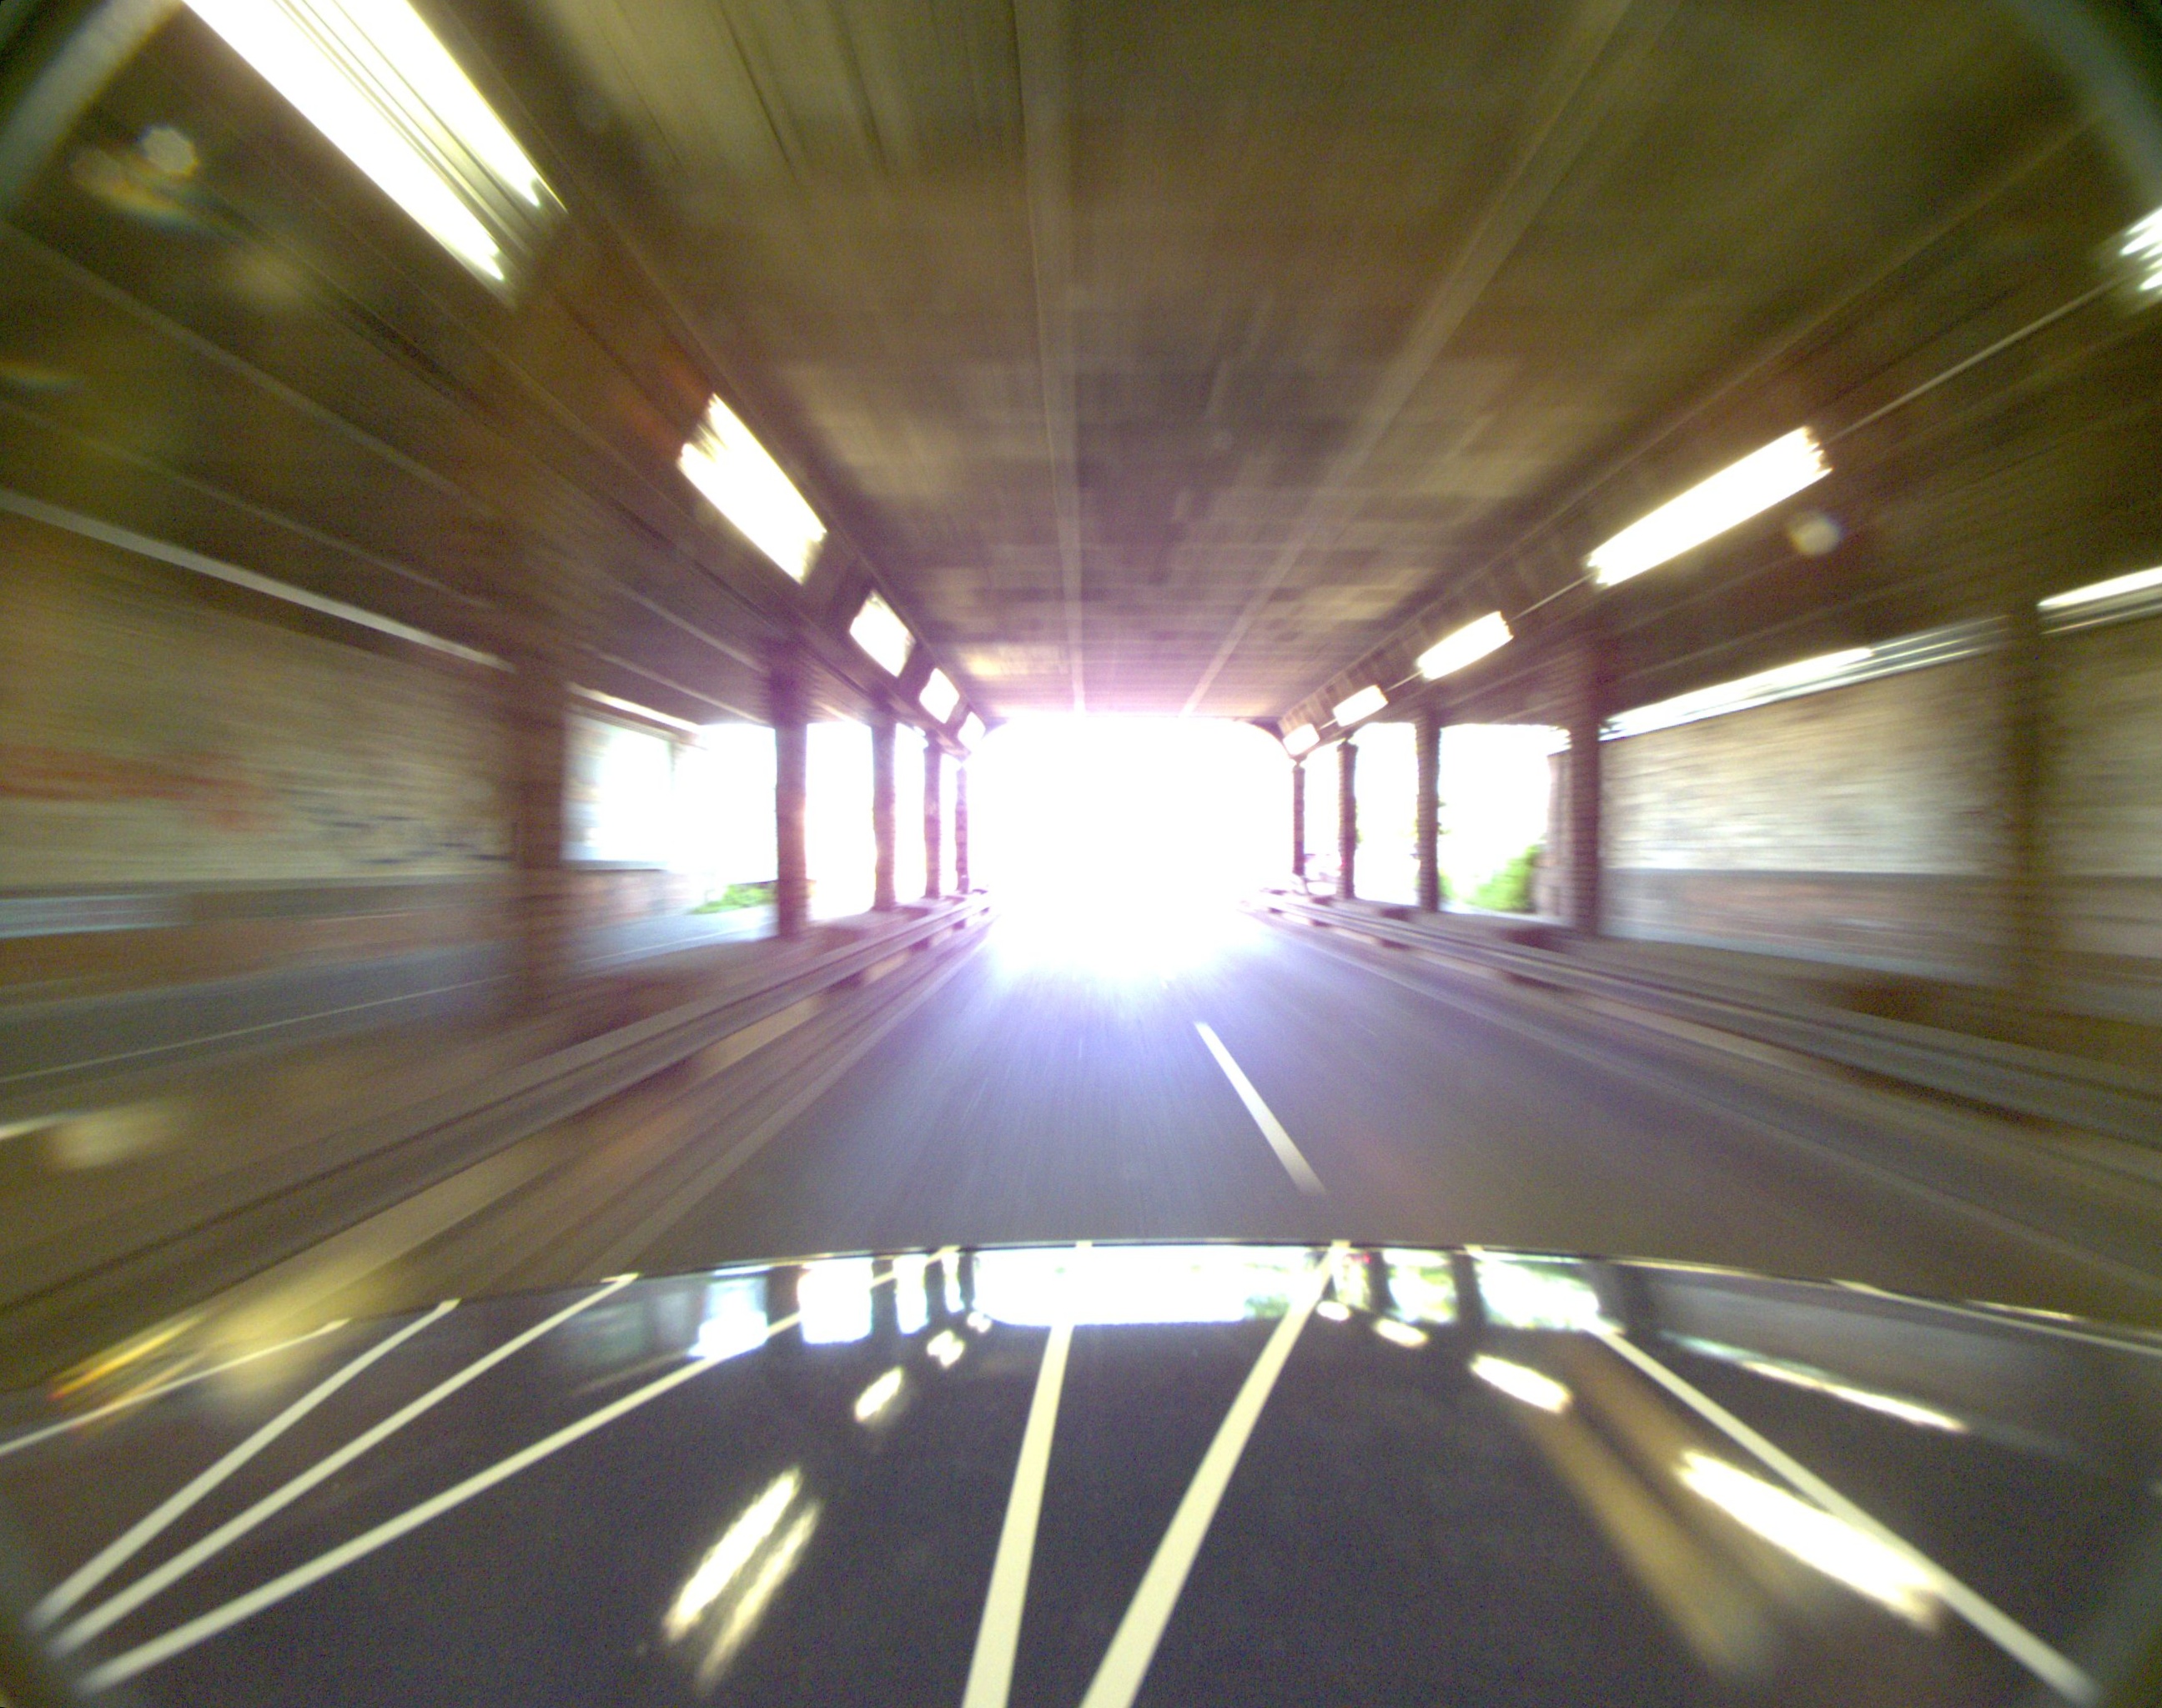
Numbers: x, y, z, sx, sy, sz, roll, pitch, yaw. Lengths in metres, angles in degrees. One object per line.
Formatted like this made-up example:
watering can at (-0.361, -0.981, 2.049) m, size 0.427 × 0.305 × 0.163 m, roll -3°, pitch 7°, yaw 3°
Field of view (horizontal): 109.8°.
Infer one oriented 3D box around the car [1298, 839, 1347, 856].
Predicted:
car at (24.187, -0.687, 76.203) m, size 4.319 × 1.590 × 1.860 m, roll -1°, pitch 1°, yaw 6°

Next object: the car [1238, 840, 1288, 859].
car at (16.400, -0.447, 68.481) m, size 4.127 × 1.626 × 1.916 m, roll -2°, pitch 2°, yaw -29°

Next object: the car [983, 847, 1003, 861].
car at (-9.957, -0.048, 86.543) m, size 1.890 × 1.502 × 4.272 m, roll -1°, pitch 1°, yaw -2°

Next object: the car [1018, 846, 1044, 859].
car at (-6.880, -0.234, 104.637) m, size 2.180 × 1.720 × 4.484 m, roll -2°, pitch 1°, yaw -22°

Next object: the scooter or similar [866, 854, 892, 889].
scooter or similar at (-7.343, 0.622, 27.699) m, size 0.538 × 1.190 × 1.291 m, roll -1°, pitch 1°, yaw 1°

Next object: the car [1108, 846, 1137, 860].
car at (5.004, -0.133, 92.435) m, size 2.016 × 1.656 × 3.843 m, roll -2°, pitch 1°, yaw -23°

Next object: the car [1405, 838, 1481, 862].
car at (27.104, -0.299, 56.944) m, size 4.748 × 1.705 × 2.047 m, roll -1°, pitch 1°, yaw -2°

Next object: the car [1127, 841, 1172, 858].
car at (6.891, -0.466, 76.421) m, size 4.264 × 1.733 × 1.859 m, roll 0°, pitch 0°, yaw -3°

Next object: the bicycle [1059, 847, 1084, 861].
bicycle at (-1.141, 0.053, 89.619) m, size 2.947 × 1.607 × 0.908 m, roll -1°, pitch 2°, yaw 34°

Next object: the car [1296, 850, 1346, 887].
car at (10.846, 0.601, 34.592) m, size 1.953 × 1.509 × 4.391 m, roll 0°, pitch 1°, yaw 15°
